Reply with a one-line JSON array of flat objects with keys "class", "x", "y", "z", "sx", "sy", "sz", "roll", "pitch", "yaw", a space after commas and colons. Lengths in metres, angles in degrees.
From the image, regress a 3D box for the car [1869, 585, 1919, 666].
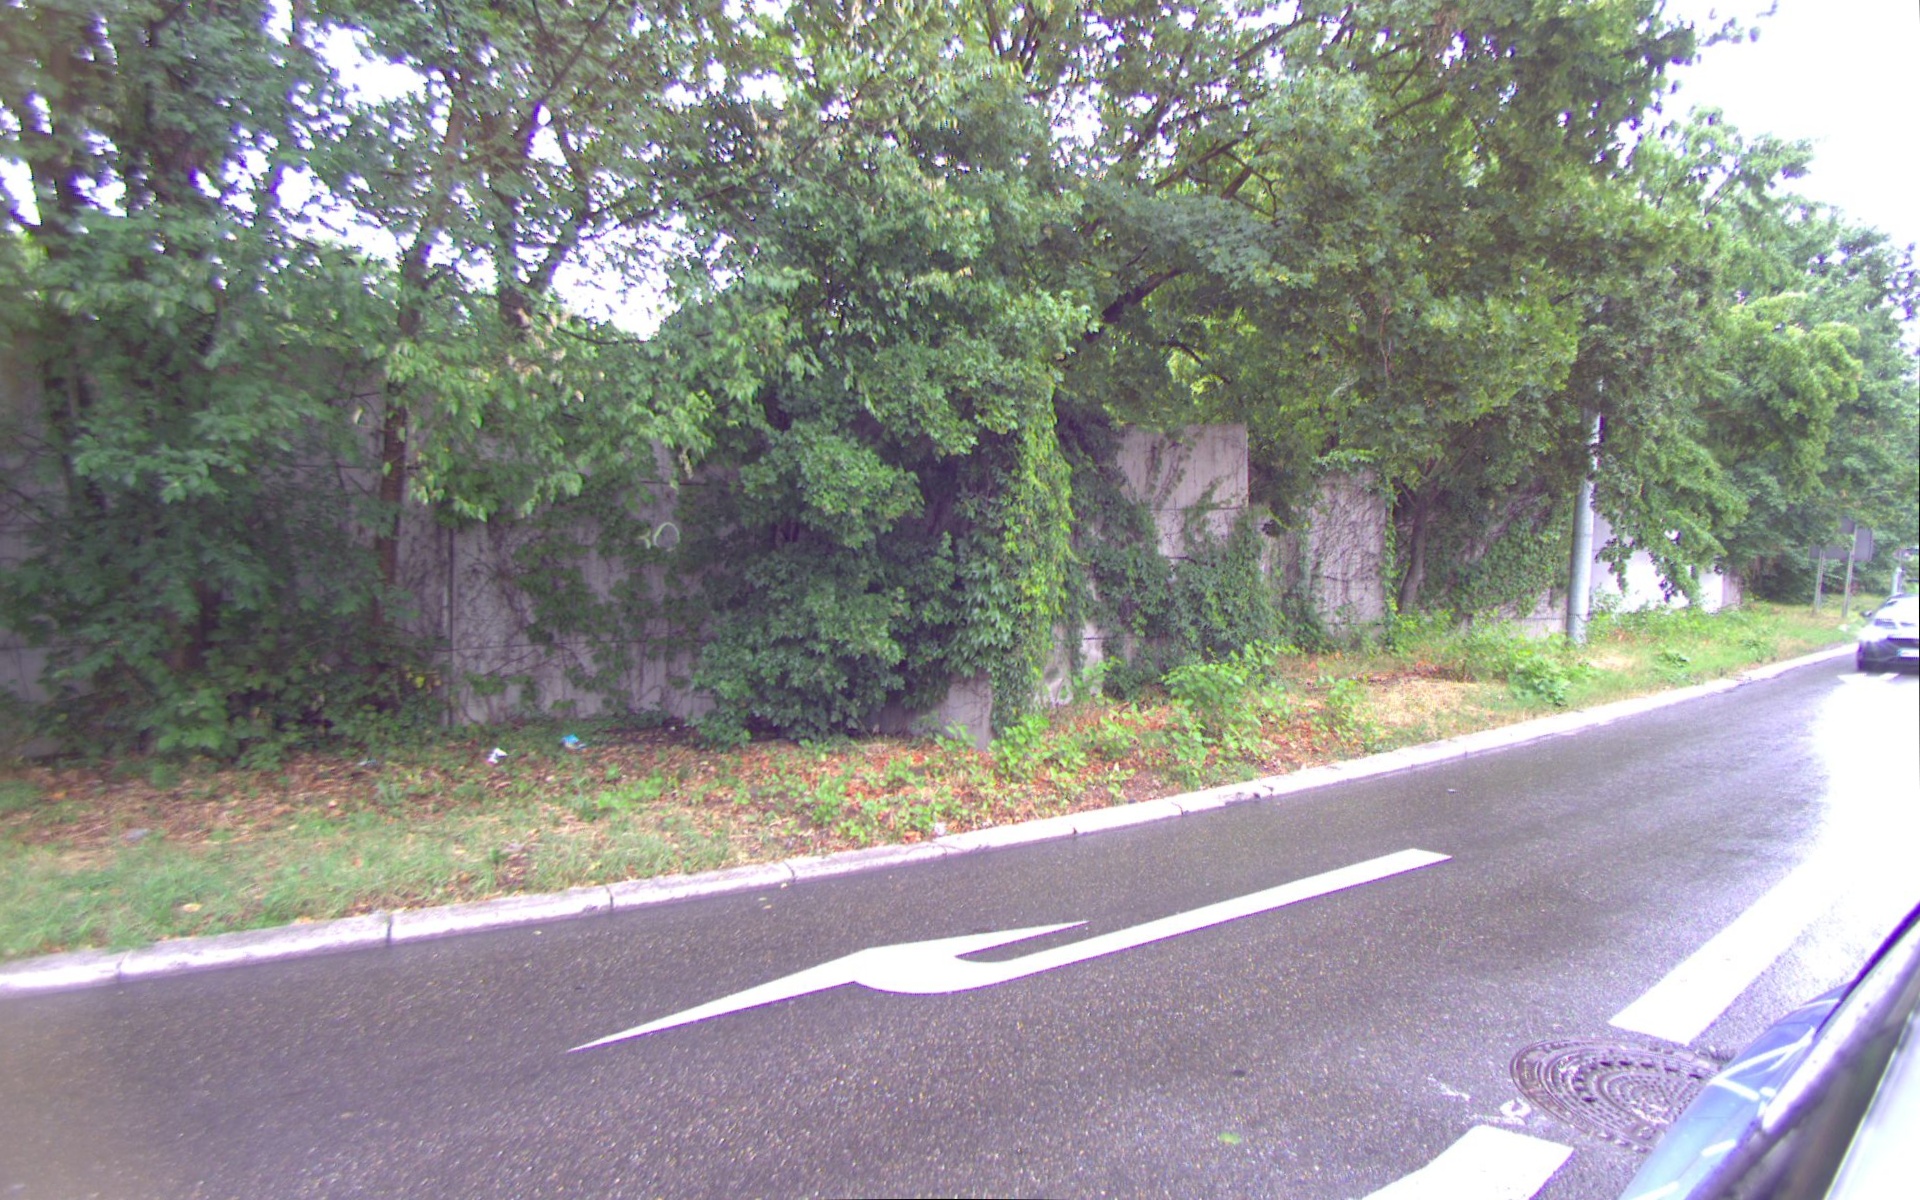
[{"class": "car", "x": 18.525, "y": 0.462, "z": 18.986, "sx": 4.338, "sy": 1.421, "sz": 1.750, "roll": 1, "pitch": -2, "yaw": -42}]
